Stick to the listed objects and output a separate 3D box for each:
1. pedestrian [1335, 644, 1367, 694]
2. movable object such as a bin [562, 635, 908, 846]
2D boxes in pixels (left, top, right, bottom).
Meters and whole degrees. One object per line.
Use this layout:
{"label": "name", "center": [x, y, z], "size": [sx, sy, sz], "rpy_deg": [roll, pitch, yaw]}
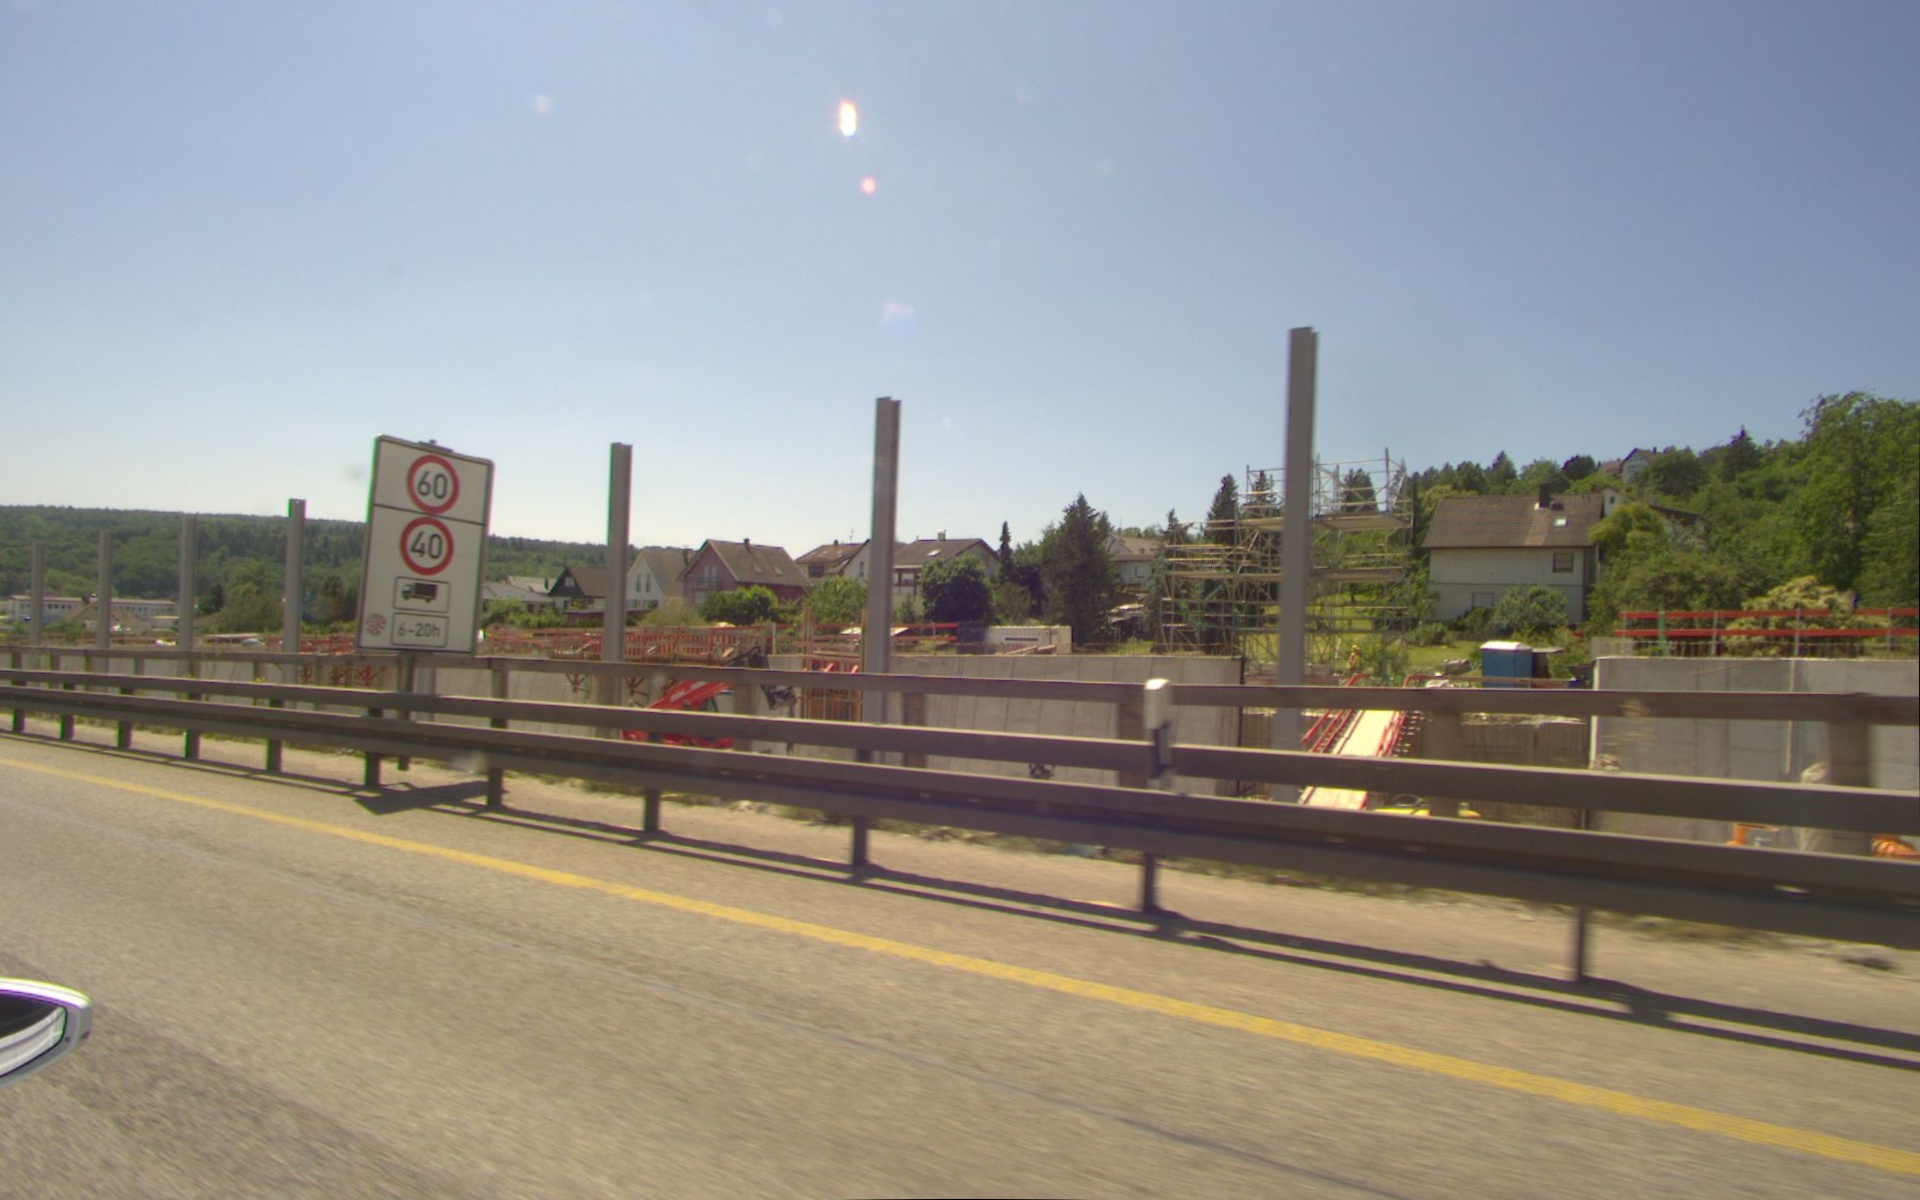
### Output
{"label": "pedestrian", "center": [16.396, 2.882, 42.003], "size": [0.960, 2.012, 1.134], "rpy_deg": [-2, -2, 36]}
{"label": "movable object such as a bin", "center": [-6.221, 3.408, 26.783], "size": [9.519, 4.802, 3.222], "rpy_deg": [-2, -2, 32]}
